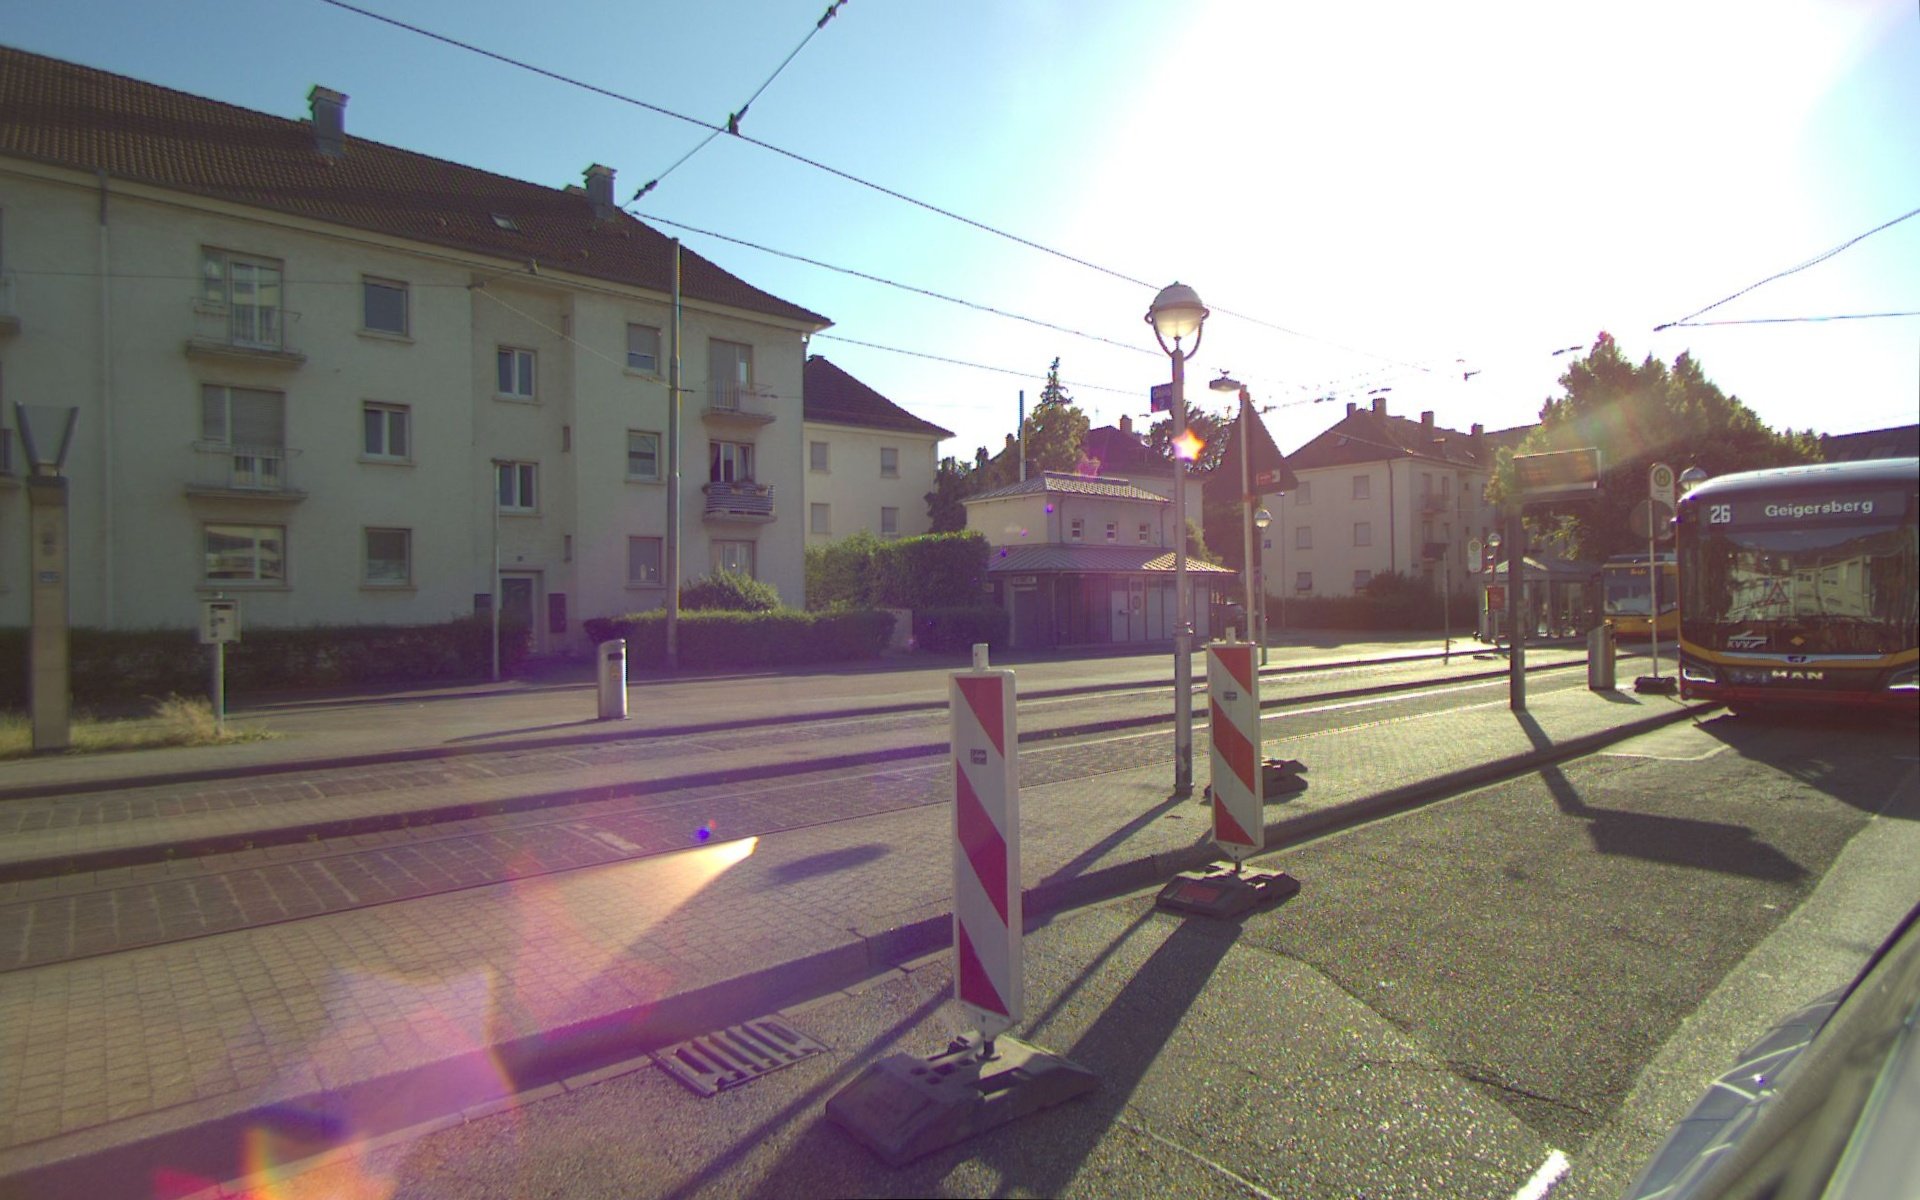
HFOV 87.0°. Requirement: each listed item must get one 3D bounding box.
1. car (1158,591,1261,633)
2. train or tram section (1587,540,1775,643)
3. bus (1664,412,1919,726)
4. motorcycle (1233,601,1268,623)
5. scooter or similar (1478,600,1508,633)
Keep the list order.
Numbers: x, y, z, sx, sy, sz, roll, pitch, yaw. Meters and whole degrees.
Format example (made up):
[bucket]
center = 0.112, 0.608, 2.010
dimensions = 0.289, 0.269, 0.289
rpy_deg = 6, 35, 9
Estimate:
[car]
center = 11.530, 0.499, 47.052
dimensions = 1.963, 1.791, 4.451
rpy_deg = -1, 1, -37
[train or tram section]
center = 30.059, -0.531, 41.648
dimensions = 15.698, 3.578, 2.961
rpy_deg = -2, 2, -42
[bus]
center = 14.329, -0.372, 15.866
dimensions = 11.810, 3.460, 2.692
rpy_deg = 0, 0, -42
[motorcycle]
center = 15.772, 0.655, 54.985
dimensions = 0.549, 1.177, 1.823
rpy_deg = 0, 0, -43
[scooter or similar]
center = 20.703, 0.632, 39.289
dimensions = 1.185, 1.223, 0.468
rpy_deg = -1, 0, -30
